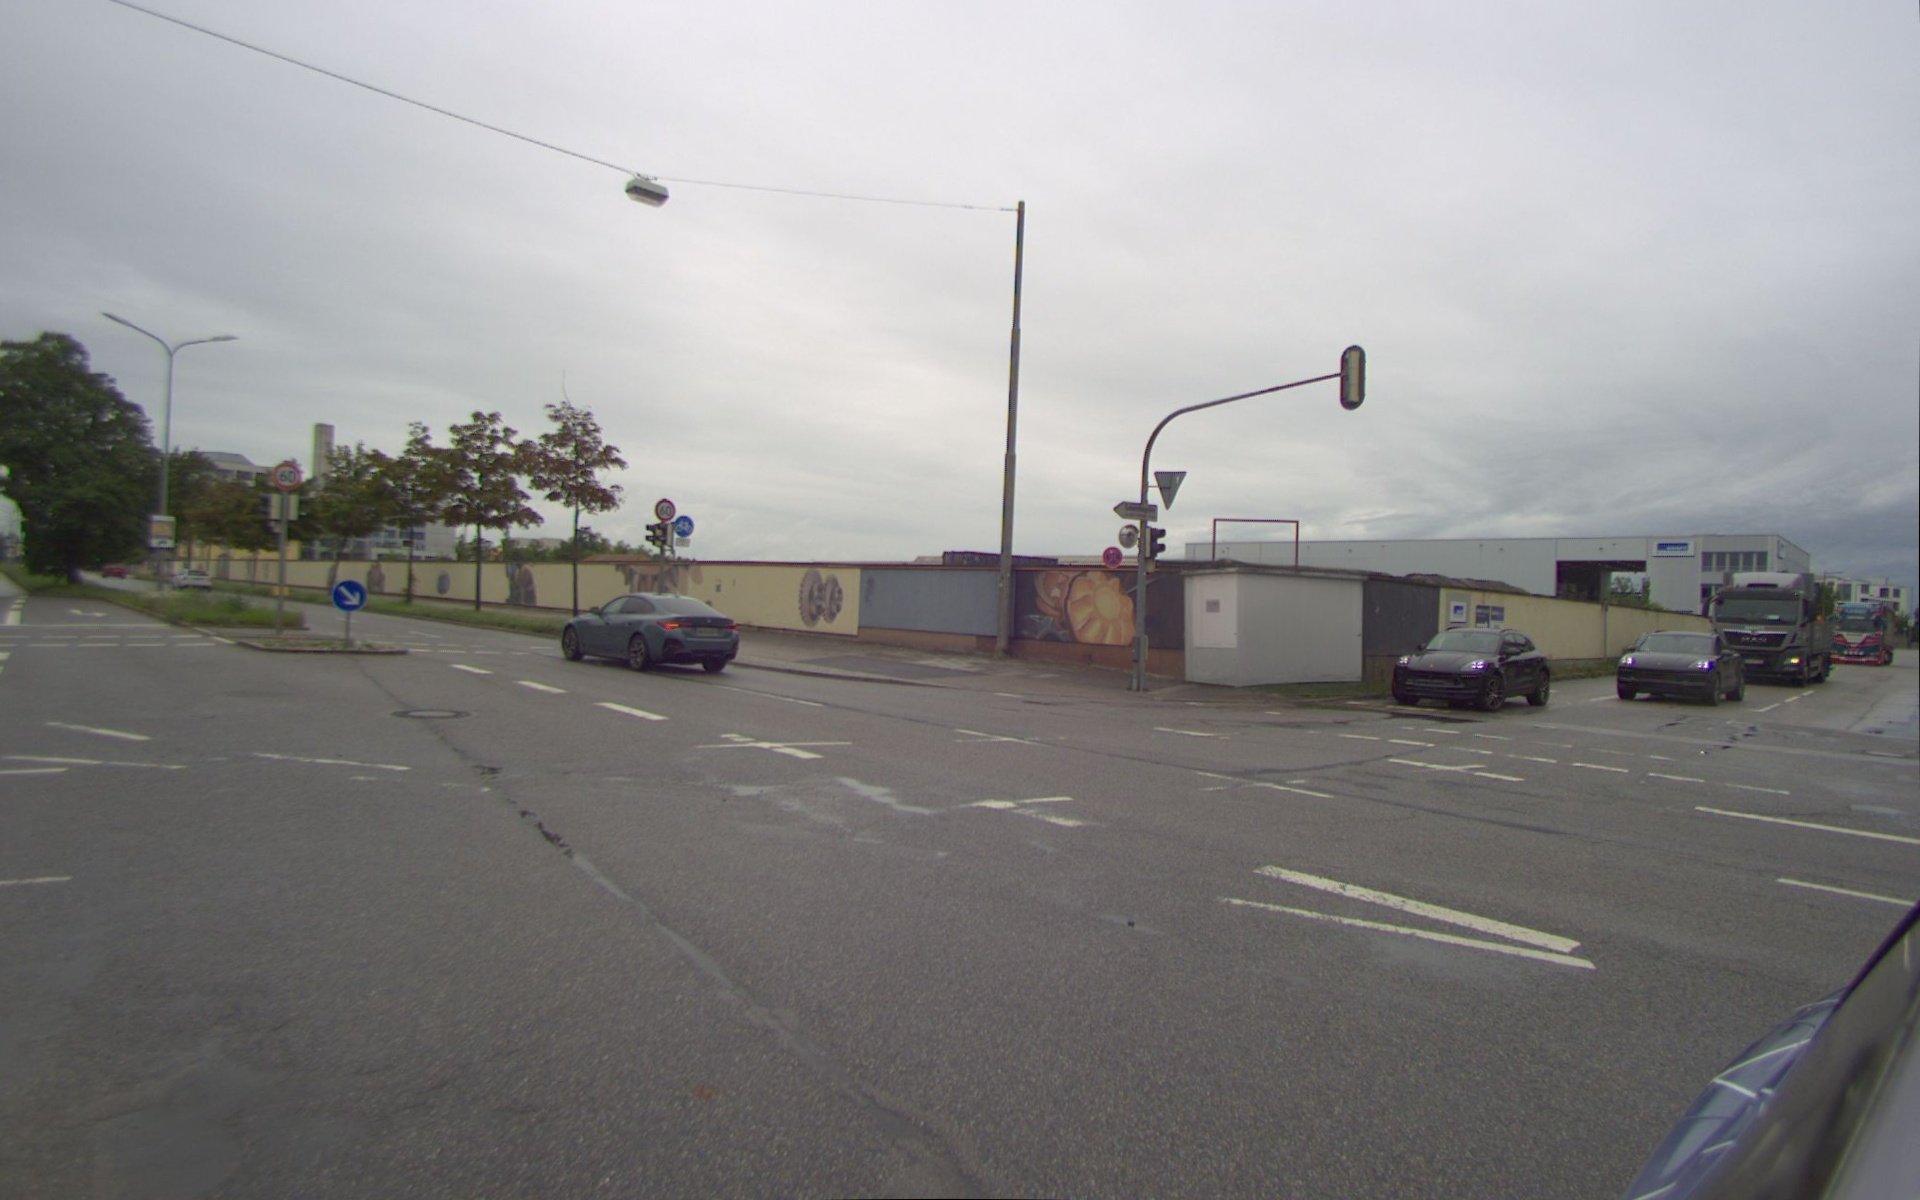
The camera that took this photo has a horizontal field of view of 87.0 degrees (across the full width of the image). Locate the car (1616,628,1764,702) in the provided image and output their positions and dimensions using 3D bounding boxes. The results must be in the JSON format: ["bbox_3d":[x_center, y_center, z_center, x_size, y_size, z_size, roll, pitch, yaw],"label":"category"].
[{"bbox_3d":[17.864,1.509,24.671,4.552,1.552,1.997,2,0,-42],"label":"car"}]

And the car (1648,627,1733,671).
[{"bbox_3d":[27.511,1.823,38.058,3.930,1.494,1.761,2,0,-41],"label":"car"}]

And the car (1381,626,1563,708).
[{"bbox_3d":[10.737,1.332,21.112,4.190,1.446,1.997,2,0,-42],"label":"car"}]

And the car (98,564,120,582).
[{"bbox_3d":[-91.194,-2.903,108.456,3.541,1.737,1.464,2,-2,45],"label":"car"}]

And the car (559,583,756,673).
[{"bbox_3d":[-6.088,0.511,20.072,1.885,1.526,4.429,4,-1,-44],"label":"car"}]

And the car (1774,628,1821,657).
[{"bbox_3d":[54.088,2.757,65.348,4.034,1.727,1.869,4,-2,-44],"label":"car"}]

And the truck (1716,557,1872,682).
[{"bbox_3d":[30.277,0.726,36.463,11.729,3.904,2.605,2,0,-42],"label":"truck"}]

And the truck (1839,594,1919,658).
[{"bbox_3d":[60.871,1.732,66.793,11.729,3.880,2.874,2,0,-42],"label":"truck"}]

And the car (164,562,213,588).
[{"bbox_3d":[-50.689,-1.648,66.434,4.488,1.486,1.854,2,-1,44],"label":"car"}]
